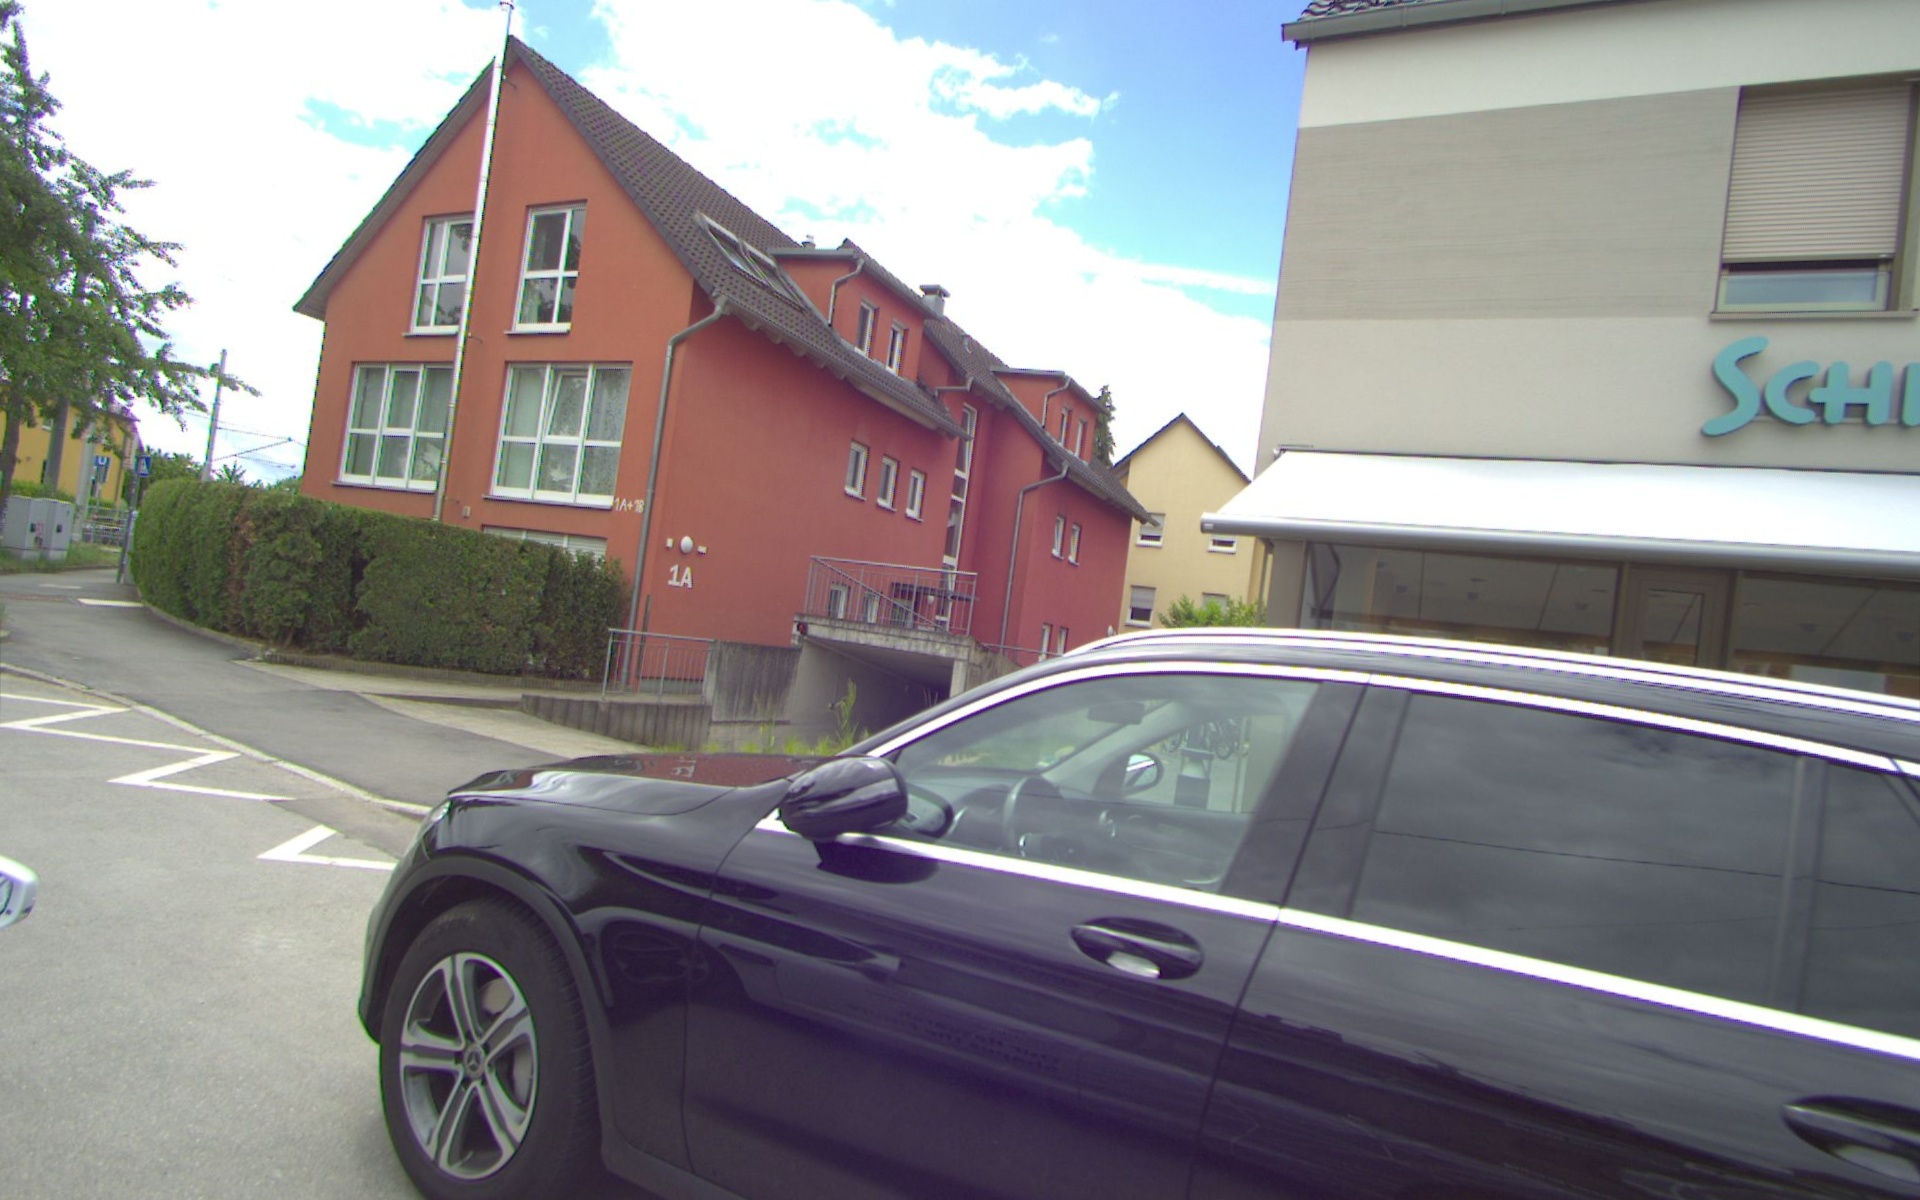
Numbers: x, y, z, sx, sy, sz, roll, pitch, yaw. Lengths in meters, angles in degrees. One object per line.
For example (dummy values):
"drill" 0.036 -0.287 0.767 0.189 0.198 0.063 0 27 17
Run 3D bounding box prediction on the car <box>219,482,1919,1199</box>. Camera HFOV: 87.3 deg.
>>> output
"car" 0.439 0.848 2.525 4.389 1.654 1.853 7 -3 29

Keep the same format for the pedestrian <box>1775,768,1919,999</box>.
"pedestrian" 5.835 1.781 6.432 0.679 1.252 0.753 8 -1 25

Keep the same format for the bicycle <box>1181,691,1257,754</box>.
"bicycle" 5.491 2.594 21.466 0.454 1.064 1.927 7 -2 -20

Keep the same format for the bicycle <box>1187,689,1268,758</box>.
"bicycle" 5.362 2.466 20.289 0.454 1.119 1.927 7 -2 -20

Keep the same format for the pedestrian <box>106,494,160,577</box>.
"pedestrian" -20.321 -1.564 24.731 0.618 1.937 0.826 8 0 -23

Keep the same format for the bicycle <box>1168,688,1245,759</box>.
"bicycle" 4.646 2.313 19.073 0.454 1.096 1.778 7 -2 -17

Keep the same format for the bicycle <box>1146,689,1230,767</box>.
"bicycle" 3.865 2.159 17.193 0.454 1.064 1.778 7 -2 -17
